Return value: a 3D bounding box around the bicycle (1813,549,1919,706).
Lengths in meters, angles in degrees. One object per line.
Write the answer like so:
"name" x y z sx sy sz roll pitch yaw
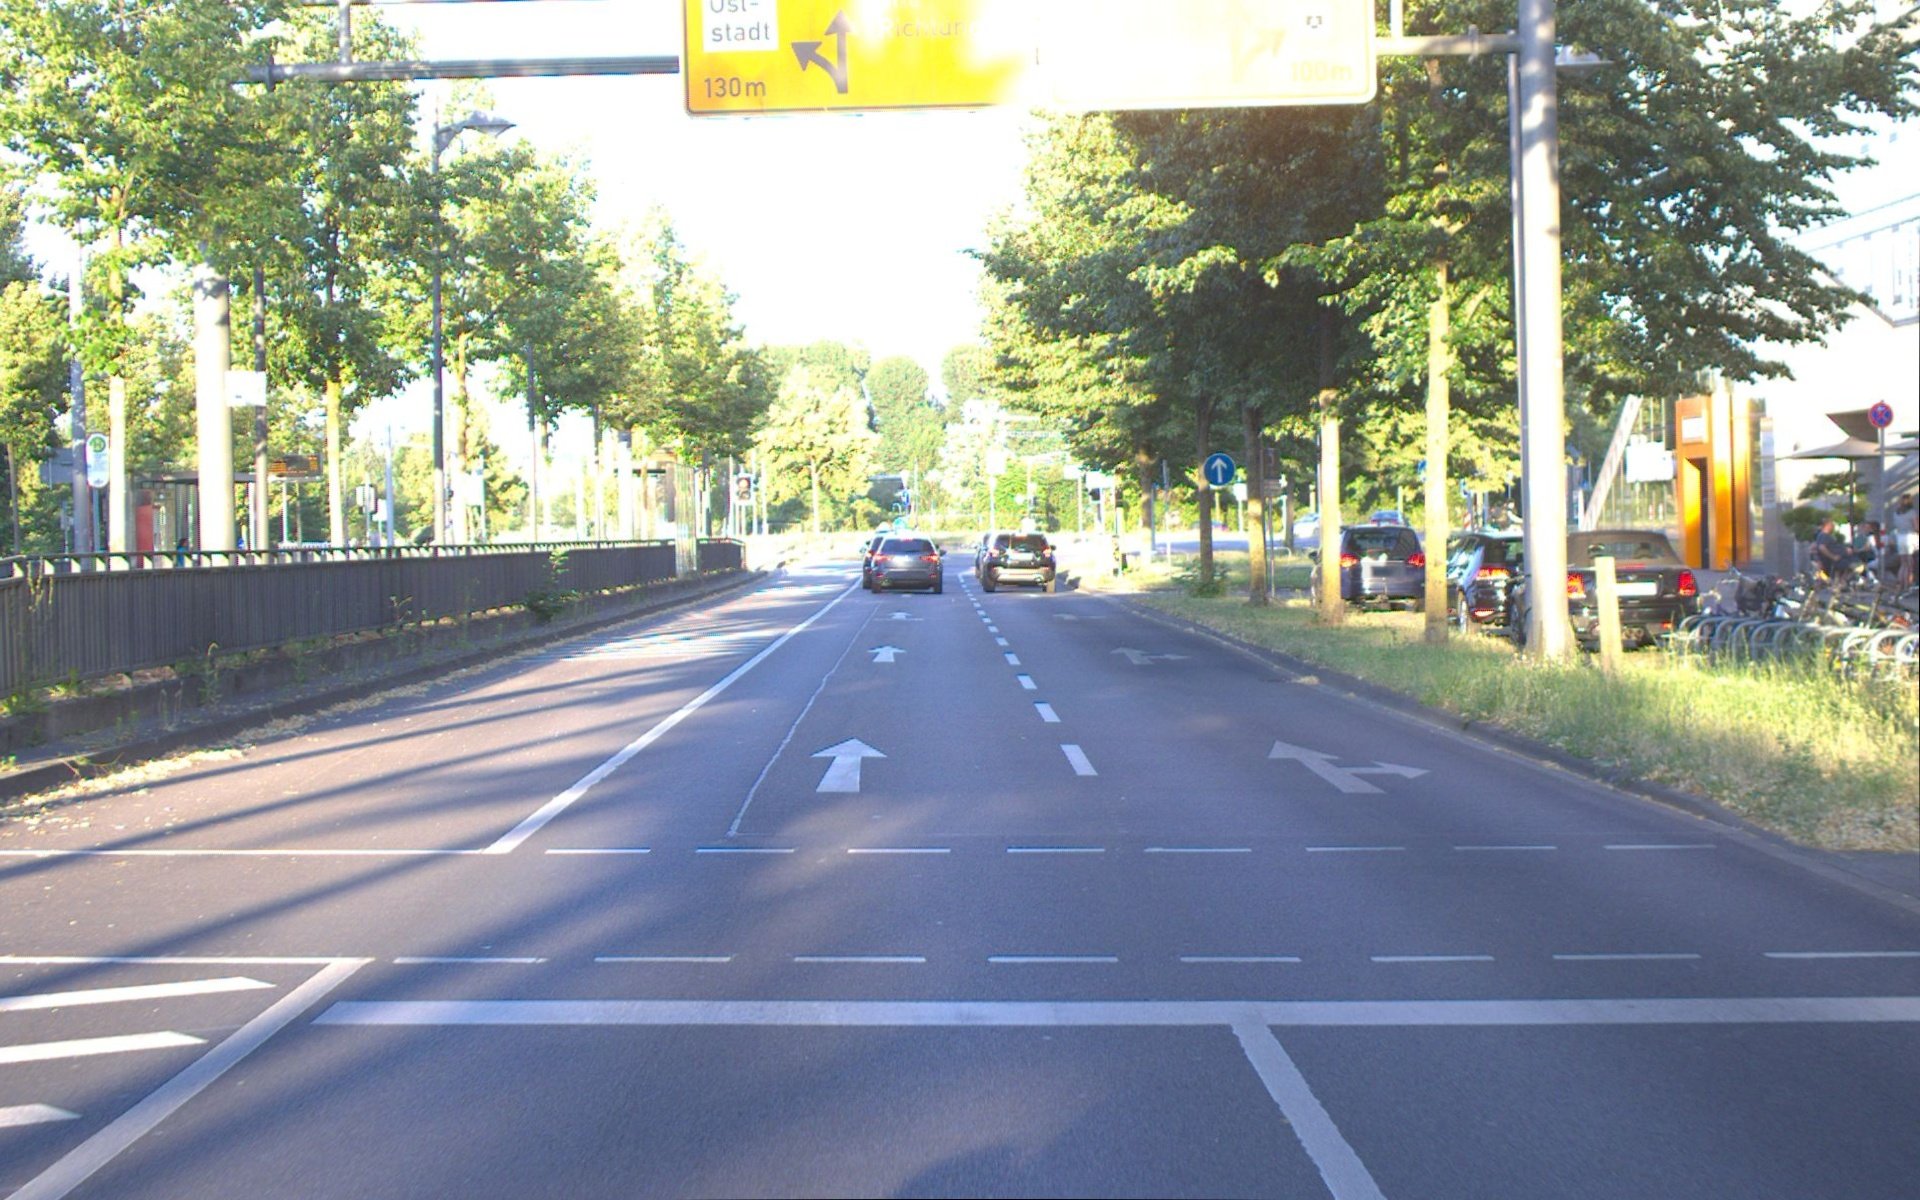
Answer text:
"bicycle" 6.944 0.215 23.798 1.941 1.050 0.404 3 1 -3

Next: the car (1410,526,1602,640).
"car" 7.435 -0.273 47.199 1.777 1.467 4.289 -1 1 -2

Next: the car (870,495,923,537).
"car" -2.328 -3.060 125.637 1.911 1.481 4.000 -1 1 -1

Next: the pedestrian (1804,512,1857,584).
"pedestrian" 15.706 -0.943 62.028 0.625 1.278 0.717 -1 1 -22

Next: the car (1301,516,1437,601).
"car" 7.377 -0.780 62.375 1.756 1.461 4.159 -1 1 -3

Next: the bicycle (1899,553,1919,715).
"bicycle" 7.210 0.259 22.612 1.941 1.050 0.414 2 1 -8

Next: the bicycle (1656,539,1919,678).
"bicycle" 6.888 0.071 28.553 2.142 1.050 0.300 2 1 -7

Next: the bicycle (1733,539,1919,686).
"bicycle" 7.071 0.112 26.296 2.142 1.050 0.562 2 1 -7

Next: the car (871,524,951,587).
"car" -1.226 -1.120 84.717 1.911 1.481 4.000 -1 1 -1

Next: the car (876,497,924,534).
"car" -2.503 -3.517 142.570 1.911 1.481 4.000 -1 1 -1

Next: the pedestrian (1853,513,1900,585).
"pedestrian" 16.454 -0.925 61.722 0.579 1.278 0.739 -1 1 -4

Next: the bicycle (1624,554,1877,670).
"bicycle" 7.073 0.107 30.781 2.142 0.936 0.443 2 1 -7

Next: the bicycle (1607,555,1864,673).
"bicycle" 6.856 0.122 30.404 2.142 0.936 0.452 2 1 -7

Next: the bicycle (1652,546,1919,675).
"bicycle" 6.961 0.085 28.974 2.142 0.983 0.443 2 1 -7

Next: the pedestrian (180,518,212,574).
"pedestrian" -18.385 -1.301 82.755 0.614 1.315 0.745 -1 1 -4

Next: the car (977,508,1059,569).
"car" 1.438 -1.563 86.855 1.911 1.481 4.000 -1 1 -1

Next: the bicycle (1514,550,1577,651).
"bicycle" 5.885 -0.009 34.607 0.319 0.977 1.846 -1 1 1

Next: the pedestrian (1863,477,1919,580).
"pedestrian" 15.827 -1.219 58.286 0.703 1.731 0.689 -2 1 -31

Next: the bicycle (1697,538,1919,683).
"bicycle" 6.927 0.087 26.910 2.142 1.050 0.571 2 1 -7

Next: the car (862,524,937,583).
"car" -1.613 -1.255 91.180 1.911 1.481 4.000 -1 1 -1

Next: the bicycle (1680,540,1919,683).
"bicycle" 6.913 0.095 27.520 2.142 1.050 0.525 2 1 -7

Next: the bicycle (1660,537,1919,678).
"bicycle" 6.866 0.063 28.090 2.142 1.050 0.525 2 1 -7

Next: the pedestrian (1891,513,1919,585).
"pedestrian" 17.184 -0.918 61.751 0.579 1.278 0.739 -1 1 -19

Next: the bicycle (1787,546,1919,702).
"bicycle" 6.877 0.191 24.278 1.941 1.050 0.404 2 1 -7

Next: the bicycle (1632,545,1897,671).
"bicycle" 6.891 0.067 29.451 2.142 0.970 0.443 2 1 -7

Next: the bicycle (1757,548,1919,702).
"bicycle" 6.772 0.194 24.766 1.941 1.050 0.404 2 1 -7

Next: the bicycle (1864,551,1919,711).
"bicycle" 7.123 0.239 23.152 1.941 1.050 0.414 2 1 -8

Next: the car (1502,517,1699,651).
"car" 7.444 -0.219 40.236 1.575 1.467 3.882 -1 1 0

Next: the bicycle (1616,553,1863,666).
"bicycle" 7.153 0.084 31.544 2.142 0.936 0.443 2 1 -7

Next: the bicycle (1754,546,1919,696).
"bicycle" 7.060 0.172 25.557 2.142 1.050 0.571 2 1 -7

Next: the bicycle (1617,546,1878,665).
"bicycle" 6.851 0.046 29.923 2.142 0.936 0.443 2 1 -7

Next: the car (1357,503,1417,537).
"car" 21.842 -4.102 175.931 1.996 1.722 3.995 0 1 23

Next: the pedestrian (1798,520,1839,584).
"pedestrian" 16.319 -0.917 65.345 0.571 1.182 0.861 -1 1 1

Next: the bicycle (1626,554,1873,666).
"bicycle" 7.357 0.093 32.070 2.142 0.936 0.545 2 1 -7
